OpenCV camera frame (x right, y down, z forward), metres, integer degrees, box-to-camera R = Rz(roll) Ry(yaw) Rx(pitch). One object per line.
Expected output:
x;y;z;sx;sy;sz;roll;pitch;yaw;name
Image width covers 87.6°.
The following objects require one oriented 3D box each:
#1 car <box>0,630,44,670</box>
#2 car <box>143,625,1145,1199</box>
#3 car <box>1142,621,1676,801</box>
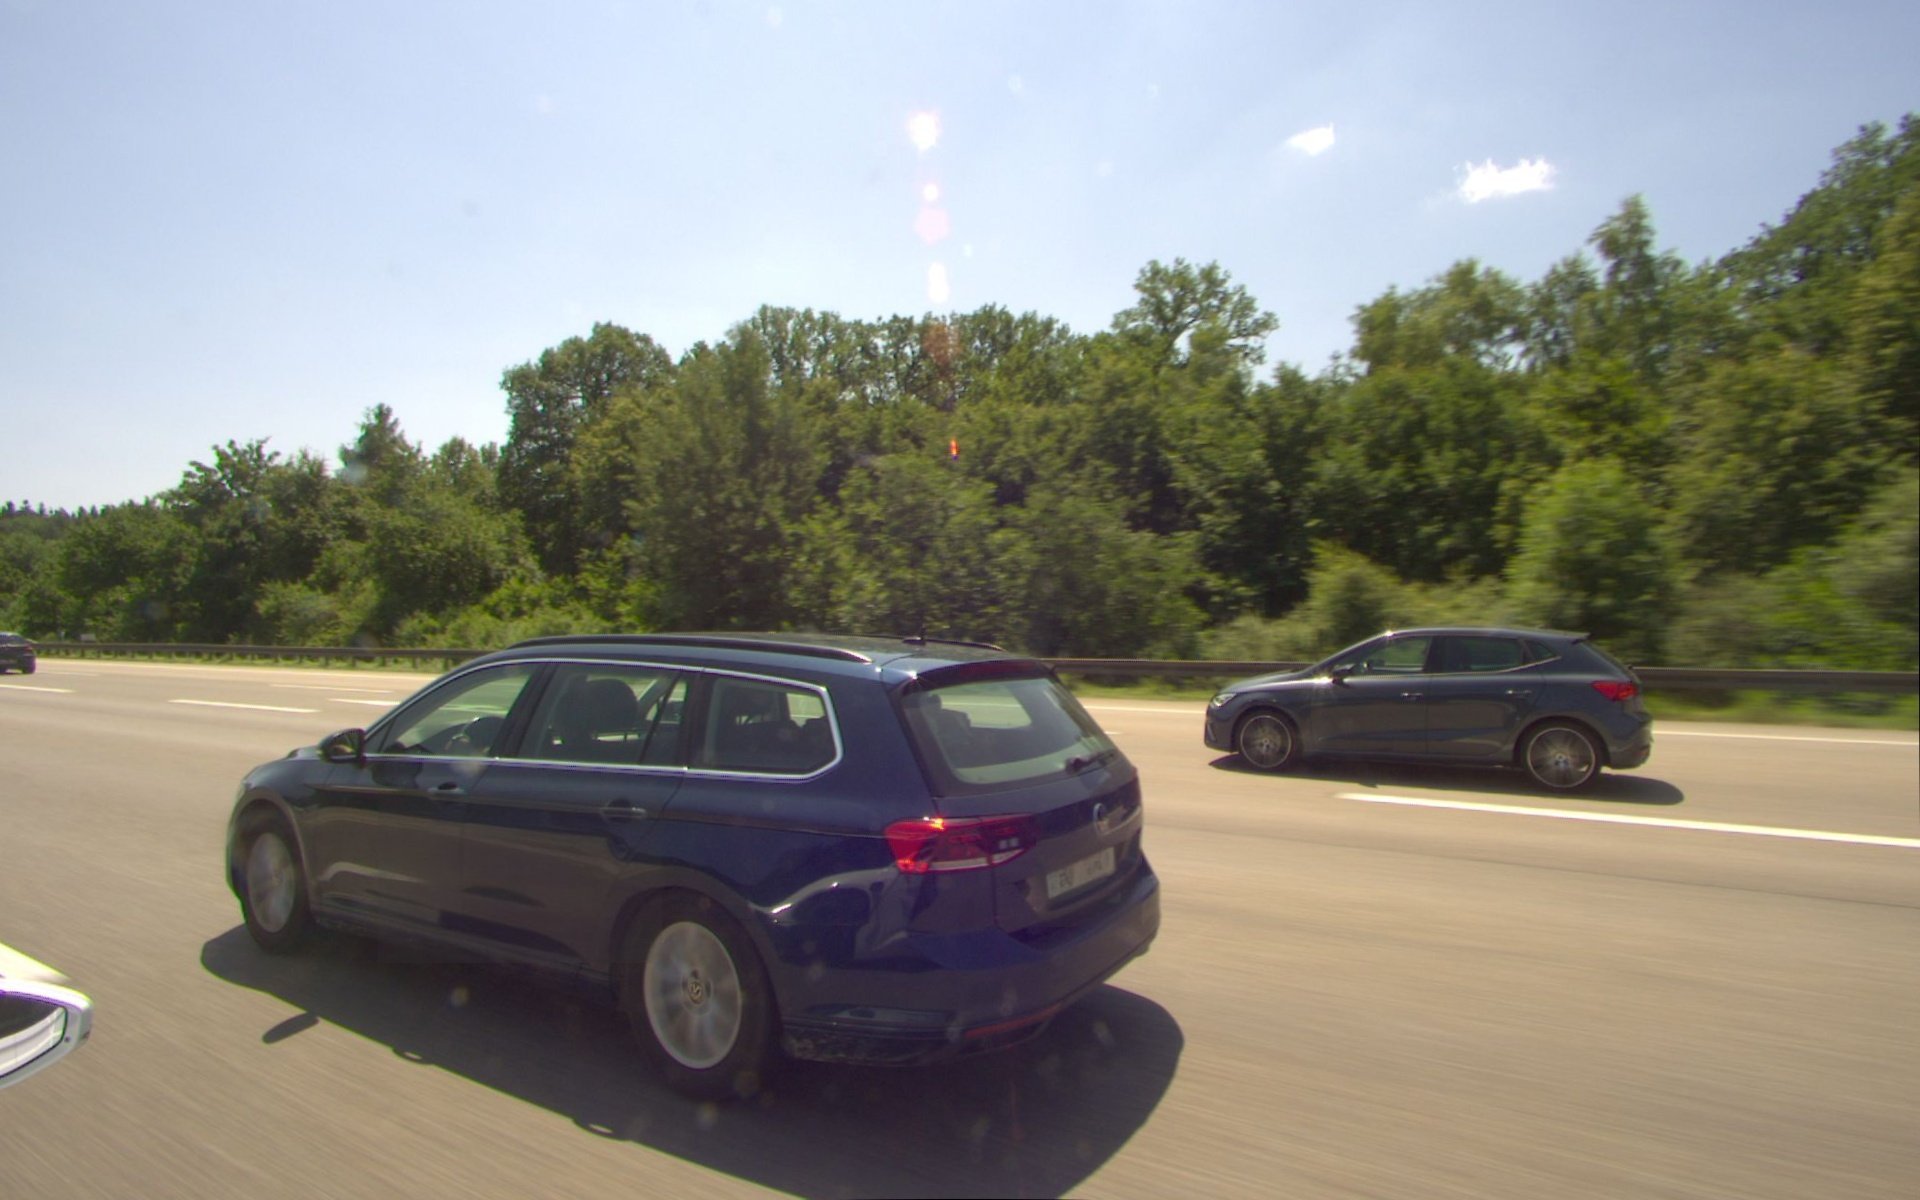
-32.870;1.710;33.944;4.230;1.290;1.667;-2;-2;33;car
-1.766;0.856;4.624;4.891;1.466;1.726;-1;-1;33;car
4.272;0.965;10.016;4.569;1.457;1.640;-1;-2;32;car
